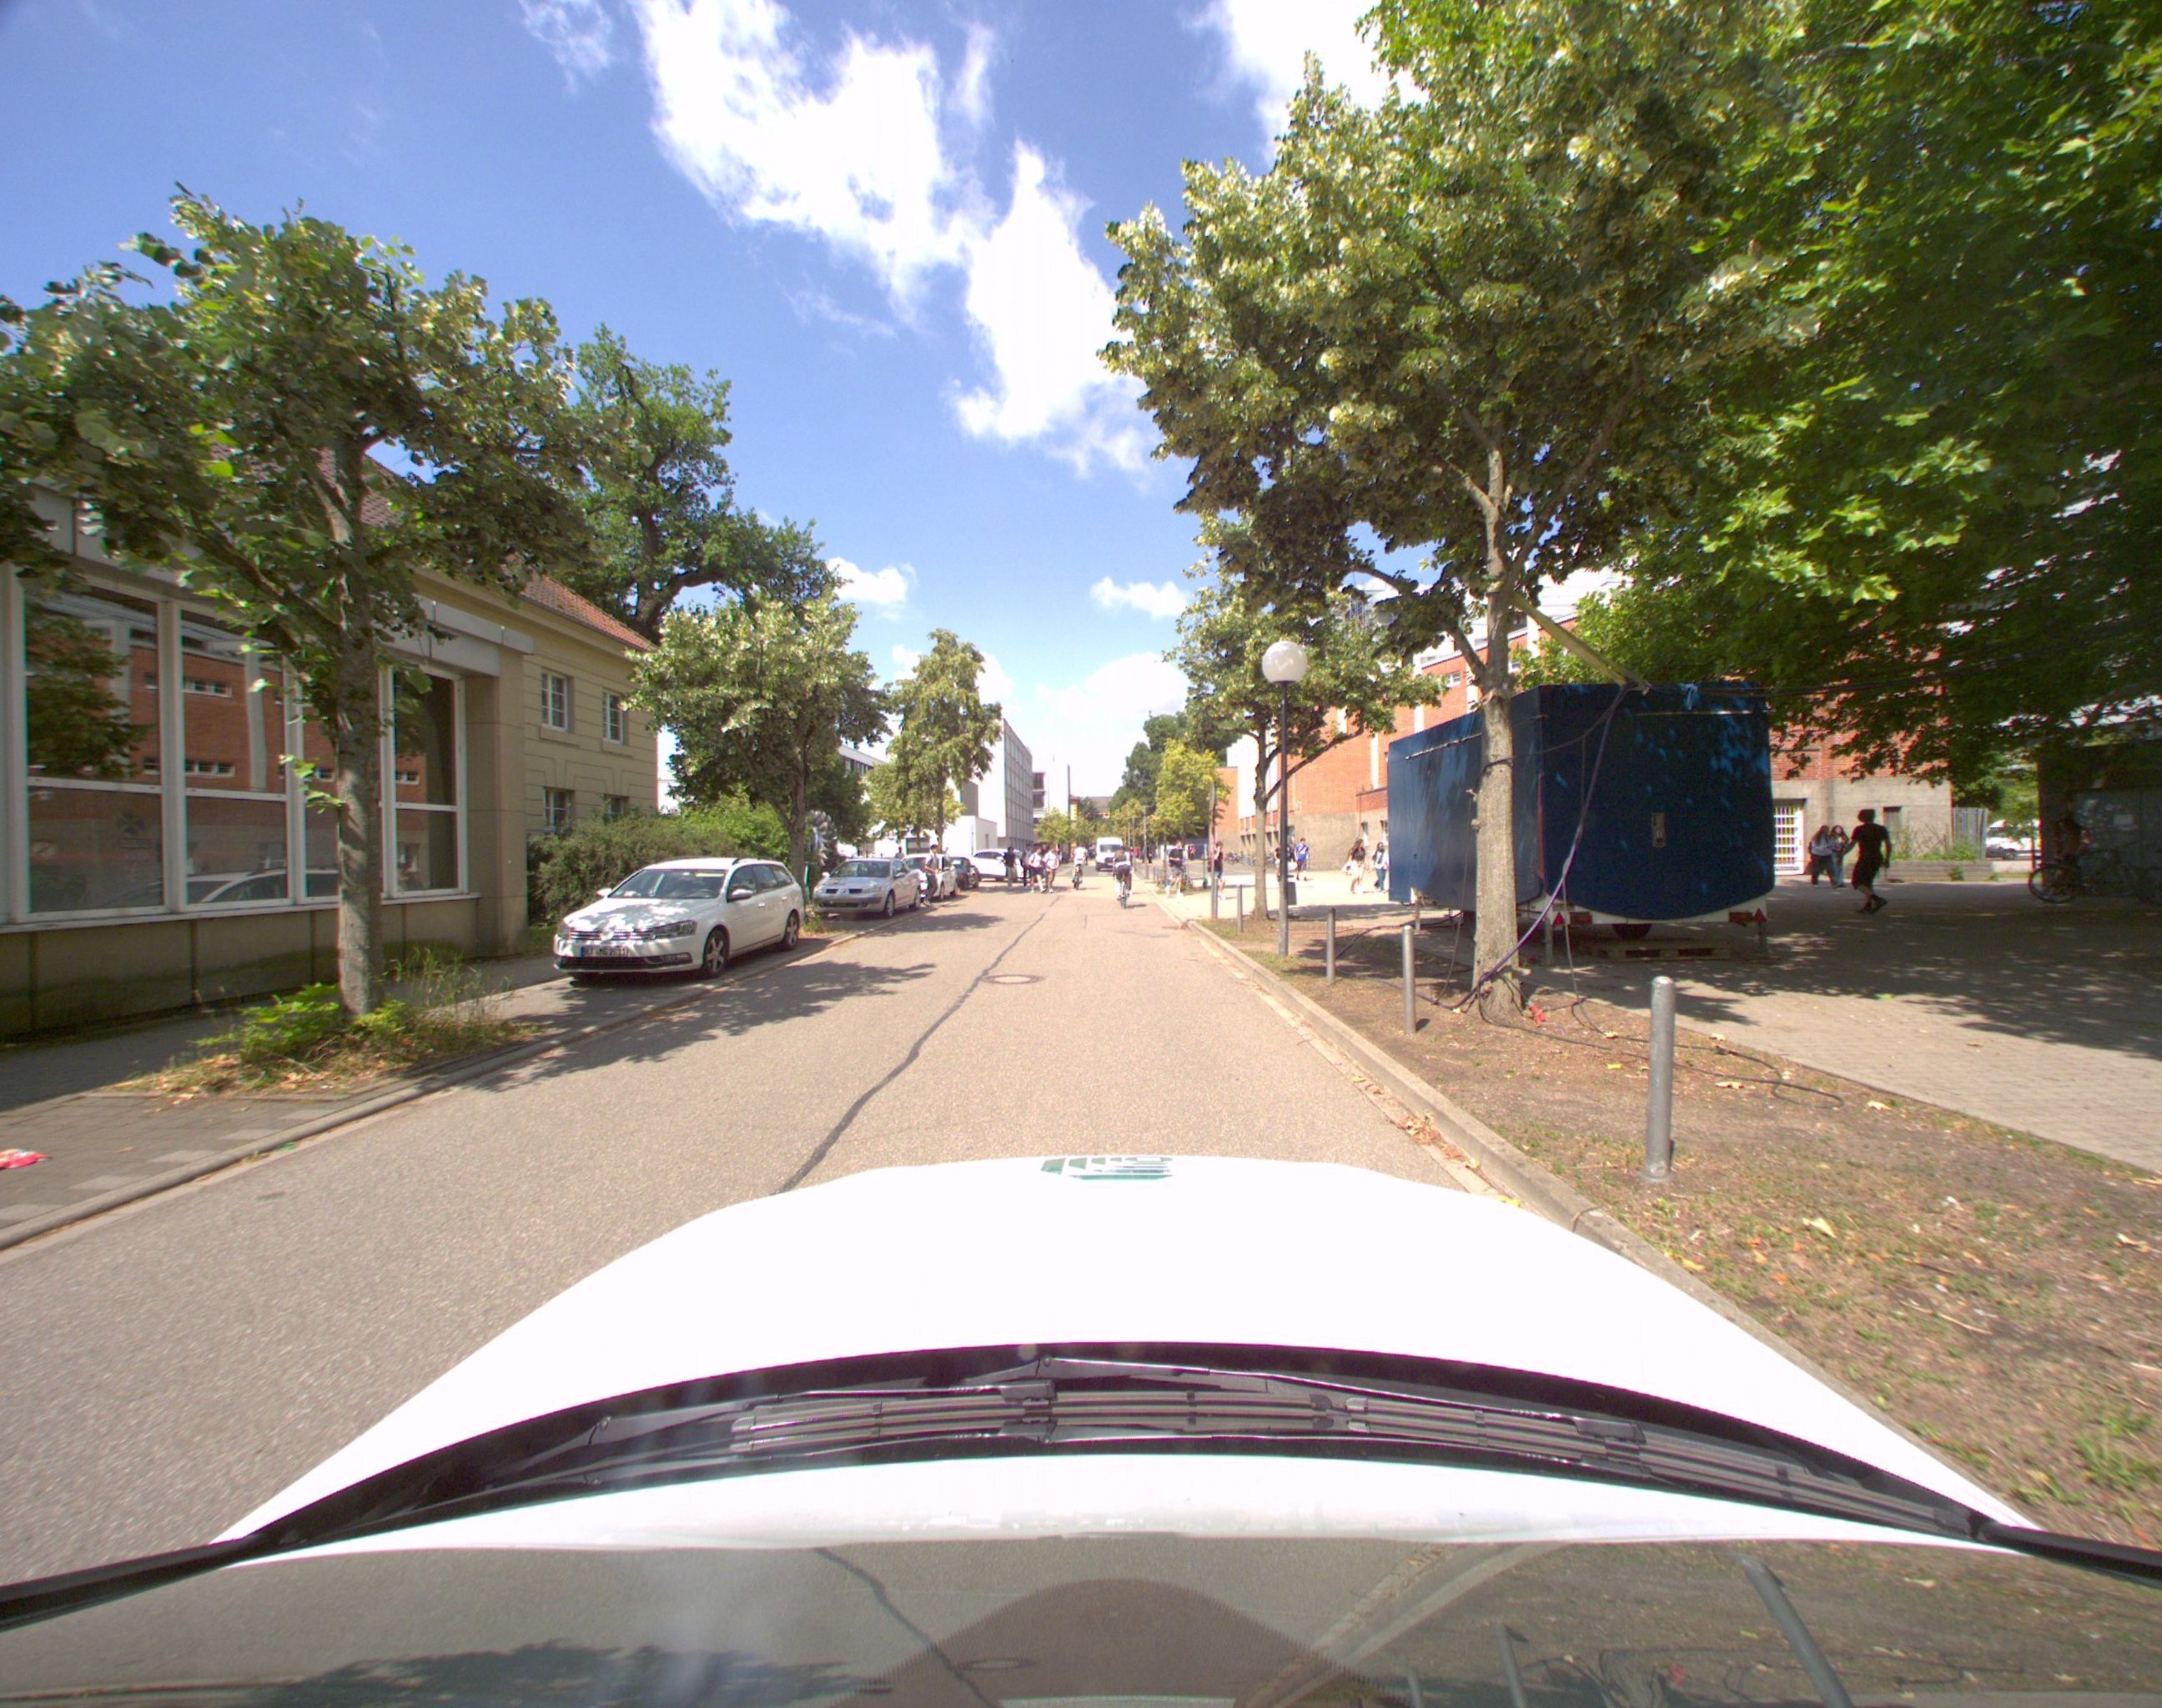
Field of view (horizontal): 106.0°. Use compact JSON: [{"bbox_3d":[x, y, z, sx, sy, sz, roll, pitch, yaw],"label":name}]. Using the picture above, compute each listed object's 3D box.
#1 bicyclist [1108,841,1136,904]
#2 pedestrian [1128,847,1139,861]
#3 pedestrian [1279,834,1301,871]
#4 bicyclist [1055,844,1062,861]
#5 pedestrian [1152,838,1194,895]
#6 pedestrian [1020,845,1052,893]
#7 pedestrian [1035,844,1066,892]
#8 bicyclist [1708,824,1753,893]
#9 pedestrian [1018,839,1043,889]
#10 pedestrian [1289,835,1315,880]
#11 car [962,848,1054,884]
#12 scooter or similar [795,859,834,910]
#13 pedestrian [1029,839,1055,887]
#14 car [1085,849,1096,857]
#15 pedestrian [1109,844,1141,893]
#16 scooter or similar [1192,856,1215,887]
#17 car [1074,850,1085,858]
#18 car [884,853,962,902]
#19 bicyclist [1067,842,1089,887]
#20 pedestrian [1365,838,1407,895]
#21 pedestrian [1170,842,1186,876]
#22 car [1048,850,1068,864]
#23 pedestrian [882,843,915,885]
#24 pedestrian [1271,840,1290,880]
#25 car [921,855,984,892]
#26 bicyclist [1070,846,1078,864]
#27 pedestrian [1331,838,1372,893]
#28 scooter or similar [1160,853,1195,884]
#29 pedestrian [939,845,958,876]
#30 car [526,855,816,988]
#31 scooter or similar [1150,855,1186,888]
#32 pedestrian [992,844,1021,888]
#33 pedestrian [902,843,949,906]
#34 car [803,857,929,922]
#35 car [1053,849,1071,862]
[{"bbox_3d":[1.144,0.496,22.732,0.714,1.661,1.096,2,2,1],"label":"bicyclist"},{"bbox_3d":[8.124,0.026,126.599,1.495,1.996,1.646,-4,1,0],"label":"pedestrian"},{"bbox_3d":[10.762,-0.076,41.994,0.787,1.860,1.116,-2,0,0],"label":"pedestrian"},{"bbox_3d":[-2.151,-0.181,78.296,0.641,1.601,0.909,-2,0,0],"label":"bicyclist"},{"bbox_3d":[3.097,0.414,27.462,0.859,1.859,1.102,-1,0,-44],"label":"pedestrian"},{"bbox_3d":[-1.666,0.535,30.144,0.971,1.739,0.705,0,1,38],"label":"pedestrian"},{"bbox_3d":[-1.163,0.519,30.595,0.897,1.739,0.683,-1,0,39],"label":"pedestrian"},{"bbox_3d":[15.547,0.099,19.497,0.660,1.607,0.616,-1,0,-27],"label":"bicyclist"},{"bbox_3d":[-2.050,0.410,32.784,0.620,1.980,0.821,-2,-1,-30],"label":"pedestrian"},{"bbox_3d":[9.213,0.142,33.964,0.708,1.787,0.750,-4,2,-9],"label":"pedestrian"},{"bbox_3d":[-3.611,0.556,39.875,4.463,1.619,1.936,1,-1,42],"label":"car"},{"bbox_3d":[-7.362,0.823,22.546,0.522,1.287,1.229,-4,1,2],"label":"scooter or similar"},{"bbox_3d":[-1.617,0.358,33.848,0.819,1.980,0.695,1,-1,24],"label":"pedestrian"},{"bbox_3d":[1.835,-0.123,163.359,1.787,1.530,4.006,-2,0,5],"label":"car"},{"bbox_3d":[1.615,0.509,29.742,0.706,1.719,0.984,-3,4,-33],"label":"pedestrian"},{"bbox_3d":[4.757,0.668,31.551,0.643,1.160,1.270,-2,0,17],"label":"scooter or similar"},{"bbox_3d":[-0.345,-0.080,164.188,1.787,1.530,4.006,-2,0,5],"label":"car"},{"bbox_3d":[-4.920,0.676,25.794,1.656,1.411,3.808,0,0,1],"label":"car"},{"bbox_3d":[-0.119,0.411,32.668,0.767,1.756,0.849,-1,0,3],"label":"bicyclist"},{"bbox_3d":[9.324,0.362,24.905,0.873,1.637,0.949,-3,2,0],"label":"pedestrian"},{"bbox_3d":[4.879,0.239,41.092,0.700,1.694,0.962,-1,2,2],"label":"pedestrian"},{"bbox_3d":[-2.734,0.338,97.535,1.787,1.530,4.006,-2,0,5],"label":"car"},{"bbox_3d":[-8.715,0.487,38.908,1.023,1.904,1.165,5,-4,-39],"label":"pedestrian"},{"bbox_3d":[8.267,0.241,33.772,0.501,1.630,0.569,-4,1,-9],"label":"pedestrian"},{"bbox_3d":[-5.003,0.728,32.144,1.638,1.300,3.930,-2,0,3],"label":"car"},{"bbox_3d":[-0.672,0.087,79.105,0.665,1.681,0.992,-2,0,-3],"label":"bicyclist"},{"bbox_3d":[8.329,0.342,25.086,0.872,1.638,0.949,-3,1,1],"label":"pedestrian"},{"bbox_3d":[4.023,0.597,33.931,1.248,1.265,0.644,-2,0,33],"label":"scooter or similar"},{"bbox_3d":[-7.669,0.396,47.125,0.979,1.785,0.668,-1,-1,-1],"label":"pedestrian"},{"bbox_3d":[-5.291,0.754,11.329,1.720,1.456,4.582,1,0,0],"label":"car"},{"bbox_3d":[3.462,0.691,32.369,1.248,1.265,0.655,-2,0,33],"label":"scooter or similar"},{"bbox_3d":[-3.035,0.479,33.174,0.794,1.772,0.859,1,-1,24],"label":"pedestrian"},{"bbox_3d":[-4.321,0.564,22.691,1.101,1.716,0.710,1,-1,1],"label":"pedestrian"},{"bbox_3d":[-5.052,0.770,19.715,1.718,1.343,4.169,1,0,3],"label":"car"},{"bbox_3d":[-2.379,0.178,104.947,1.787,1.530,4.006,-2,0,5],"label":"car"}]
